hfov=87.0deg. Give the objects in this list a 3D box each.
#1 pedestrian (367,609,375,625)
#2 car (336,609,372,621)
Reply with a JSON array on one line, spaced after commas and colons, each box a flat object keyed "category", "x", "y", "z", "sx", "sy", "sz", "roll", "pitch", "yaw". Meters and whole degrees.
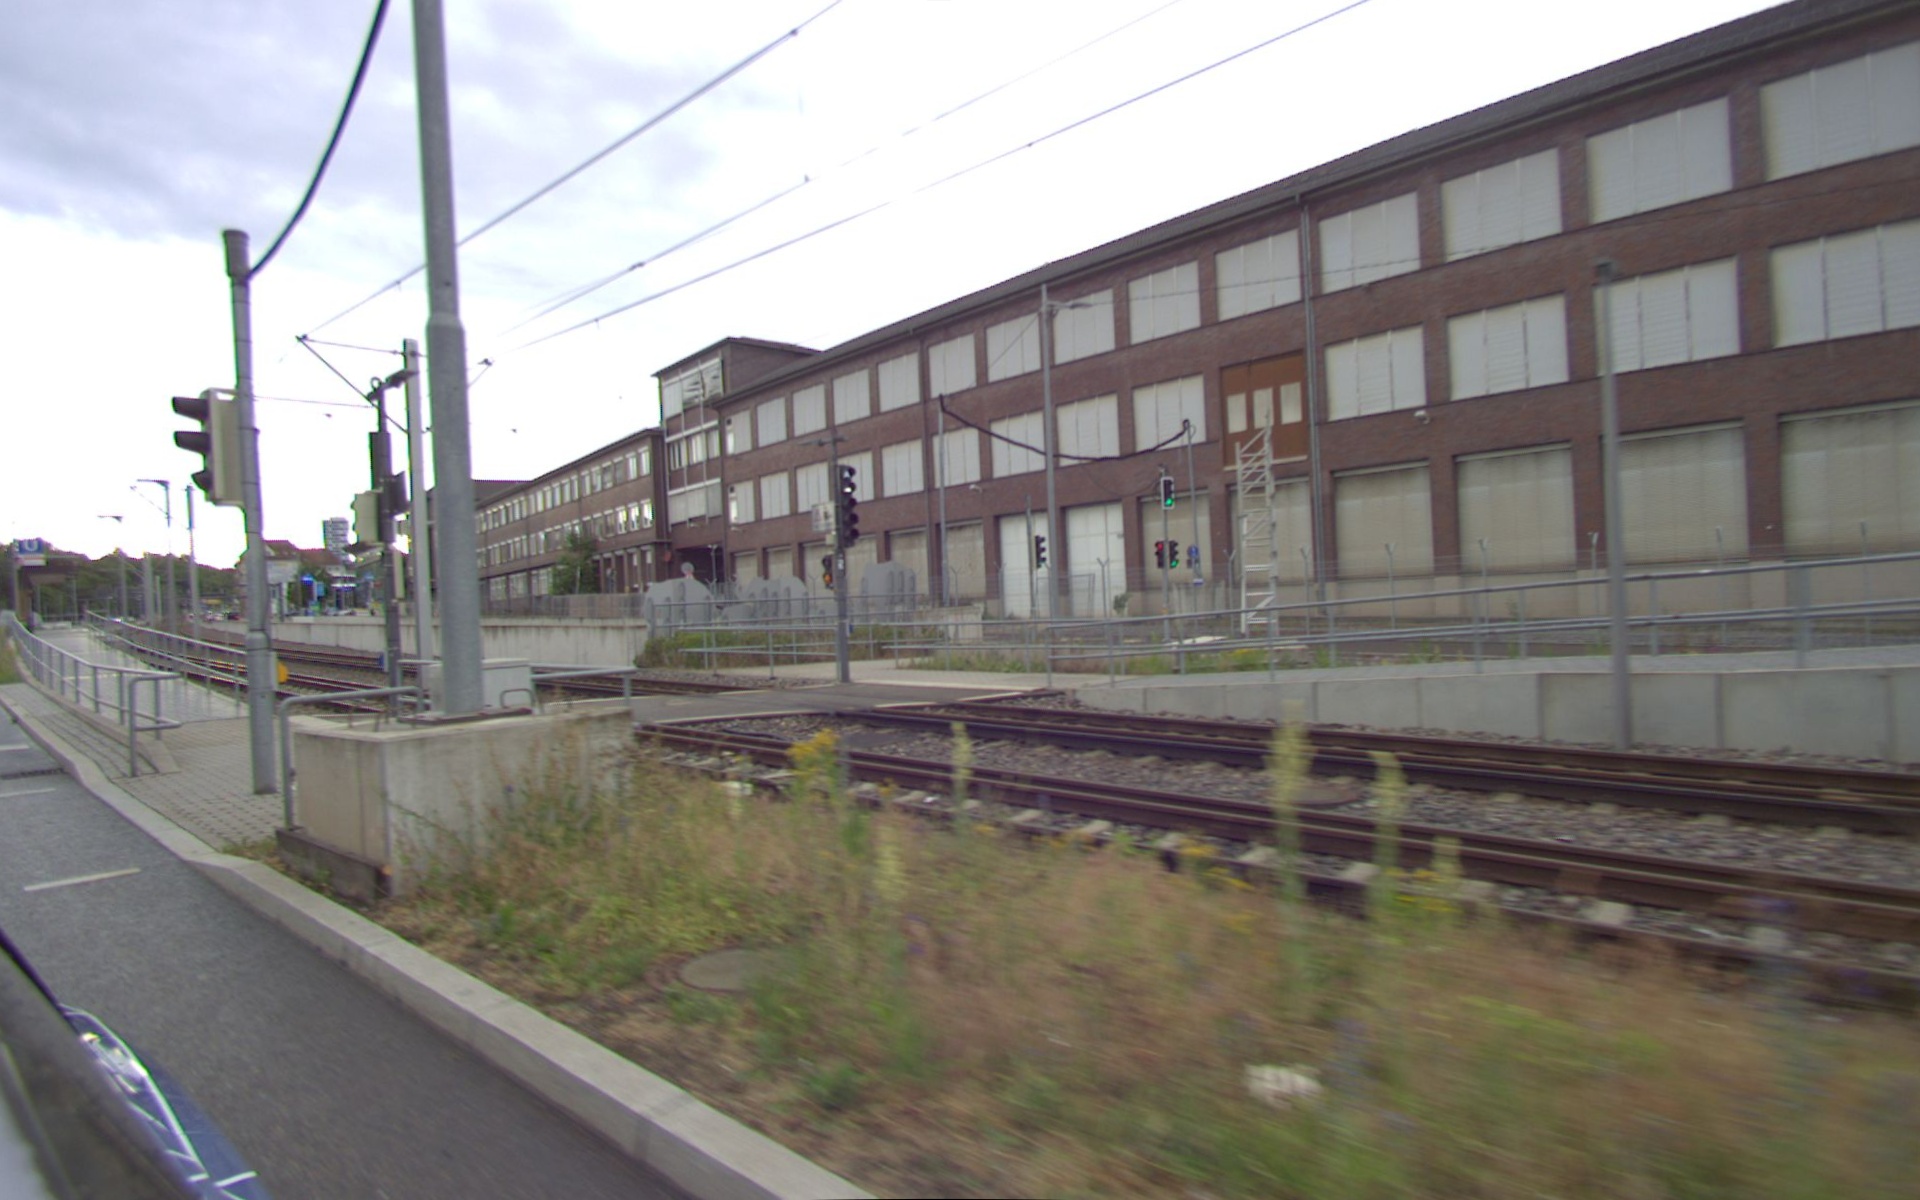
[{"category": "pedestrian", "x": -73.010, "y": 2.136, "z": 125.483, "sx": 0.723, "sy": 2.029, "sz": 0.577, "roll": -1, "pitch": -1, "yaw": 15}, {"category": "car", "x": -94.594, "y": 2.356, "z": 157.999, "sx": 4.507, "sy": 1.773, "sz": 2.004, "roll": -1, "pitch": -1, "yaw": -39}]
